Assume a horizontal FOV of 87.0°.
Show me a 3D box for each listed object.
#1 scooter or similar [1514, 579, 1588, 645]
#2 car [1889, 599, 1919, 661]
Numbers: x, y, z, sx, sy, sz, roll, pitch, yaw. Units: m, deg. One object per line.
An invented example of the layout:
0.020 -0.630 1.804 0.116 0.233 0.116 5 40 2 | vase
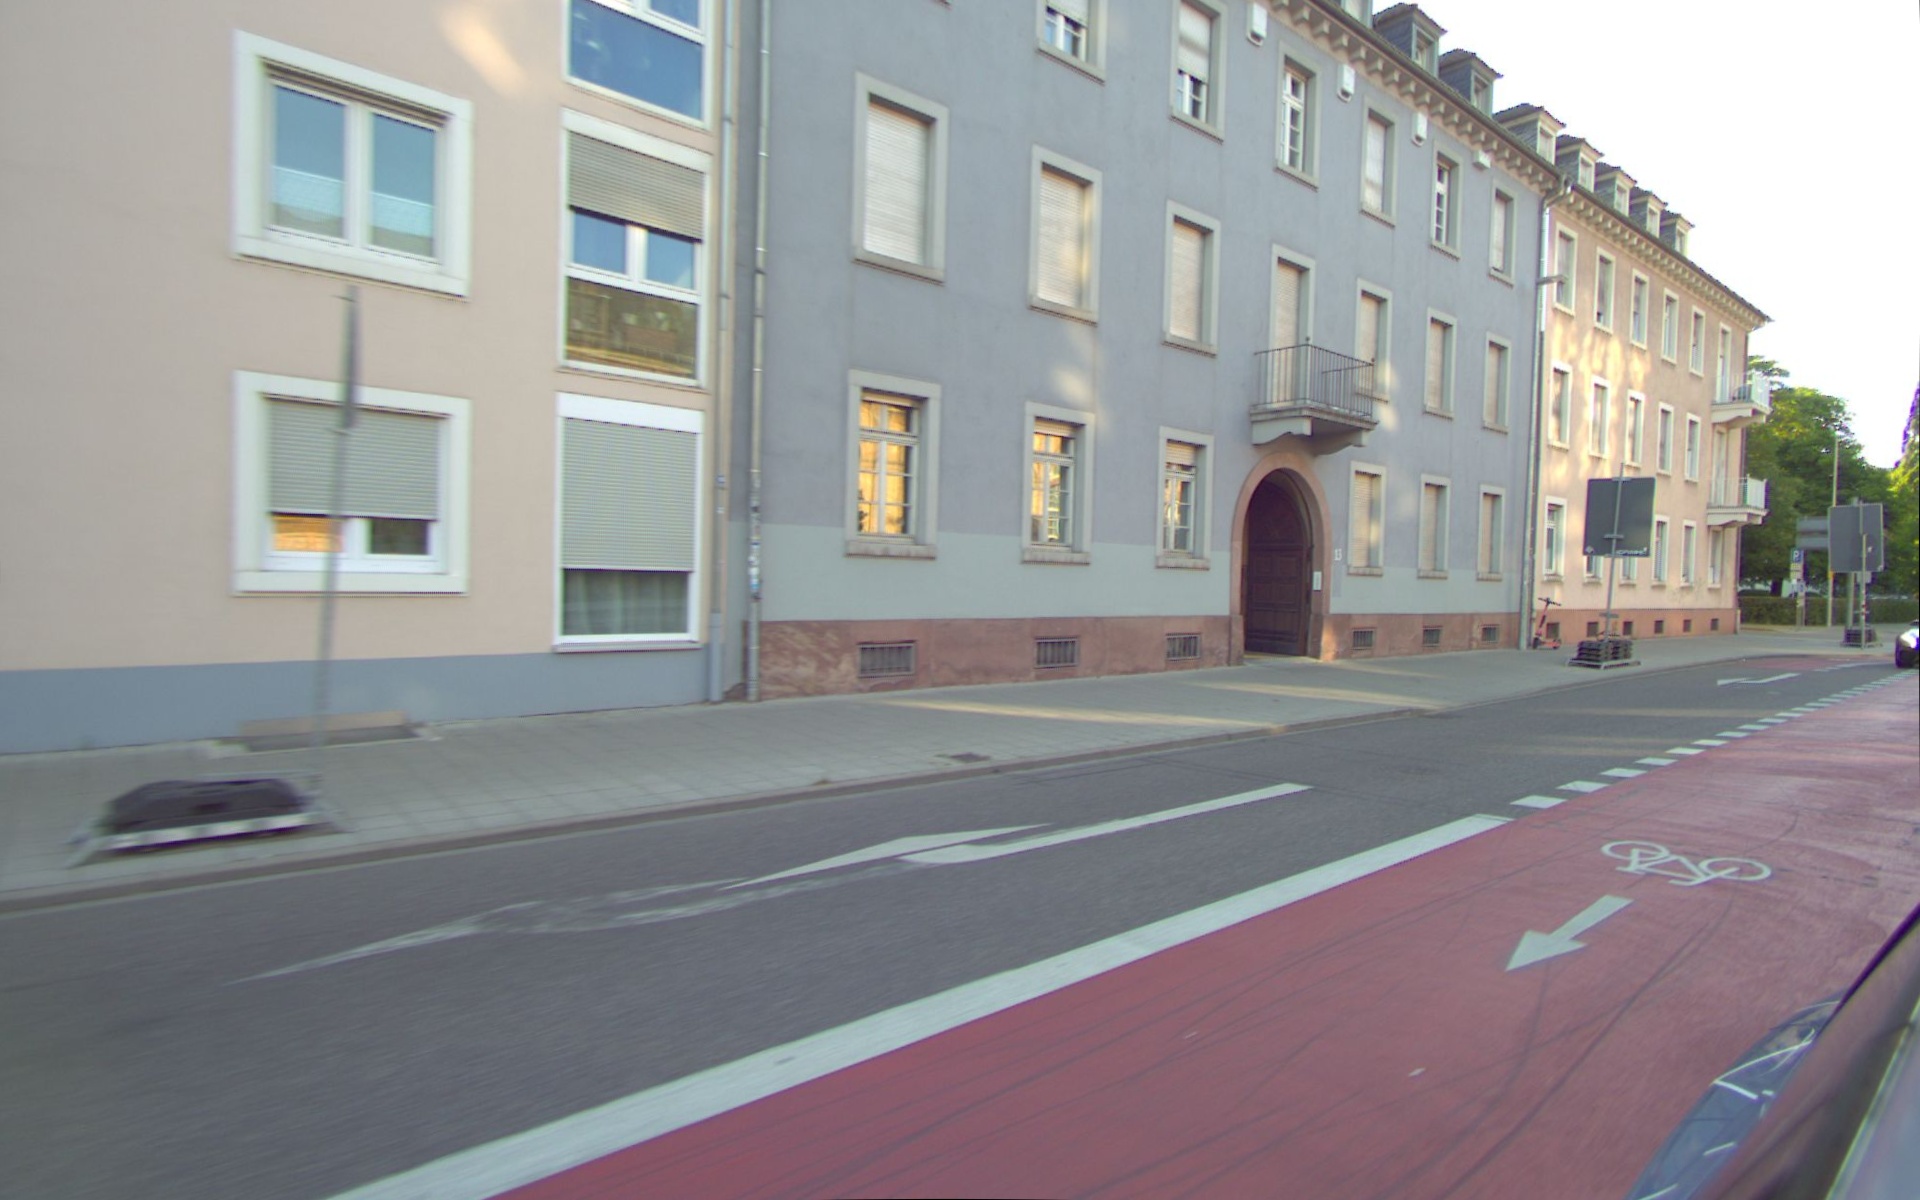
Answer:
14.020 0.268 23.992 1.638 1.476 0.729 1 4 -31 | scooter or similar
22.533 0.635 22.401 4.277 1.317 2.184 0 0 -37 | car
